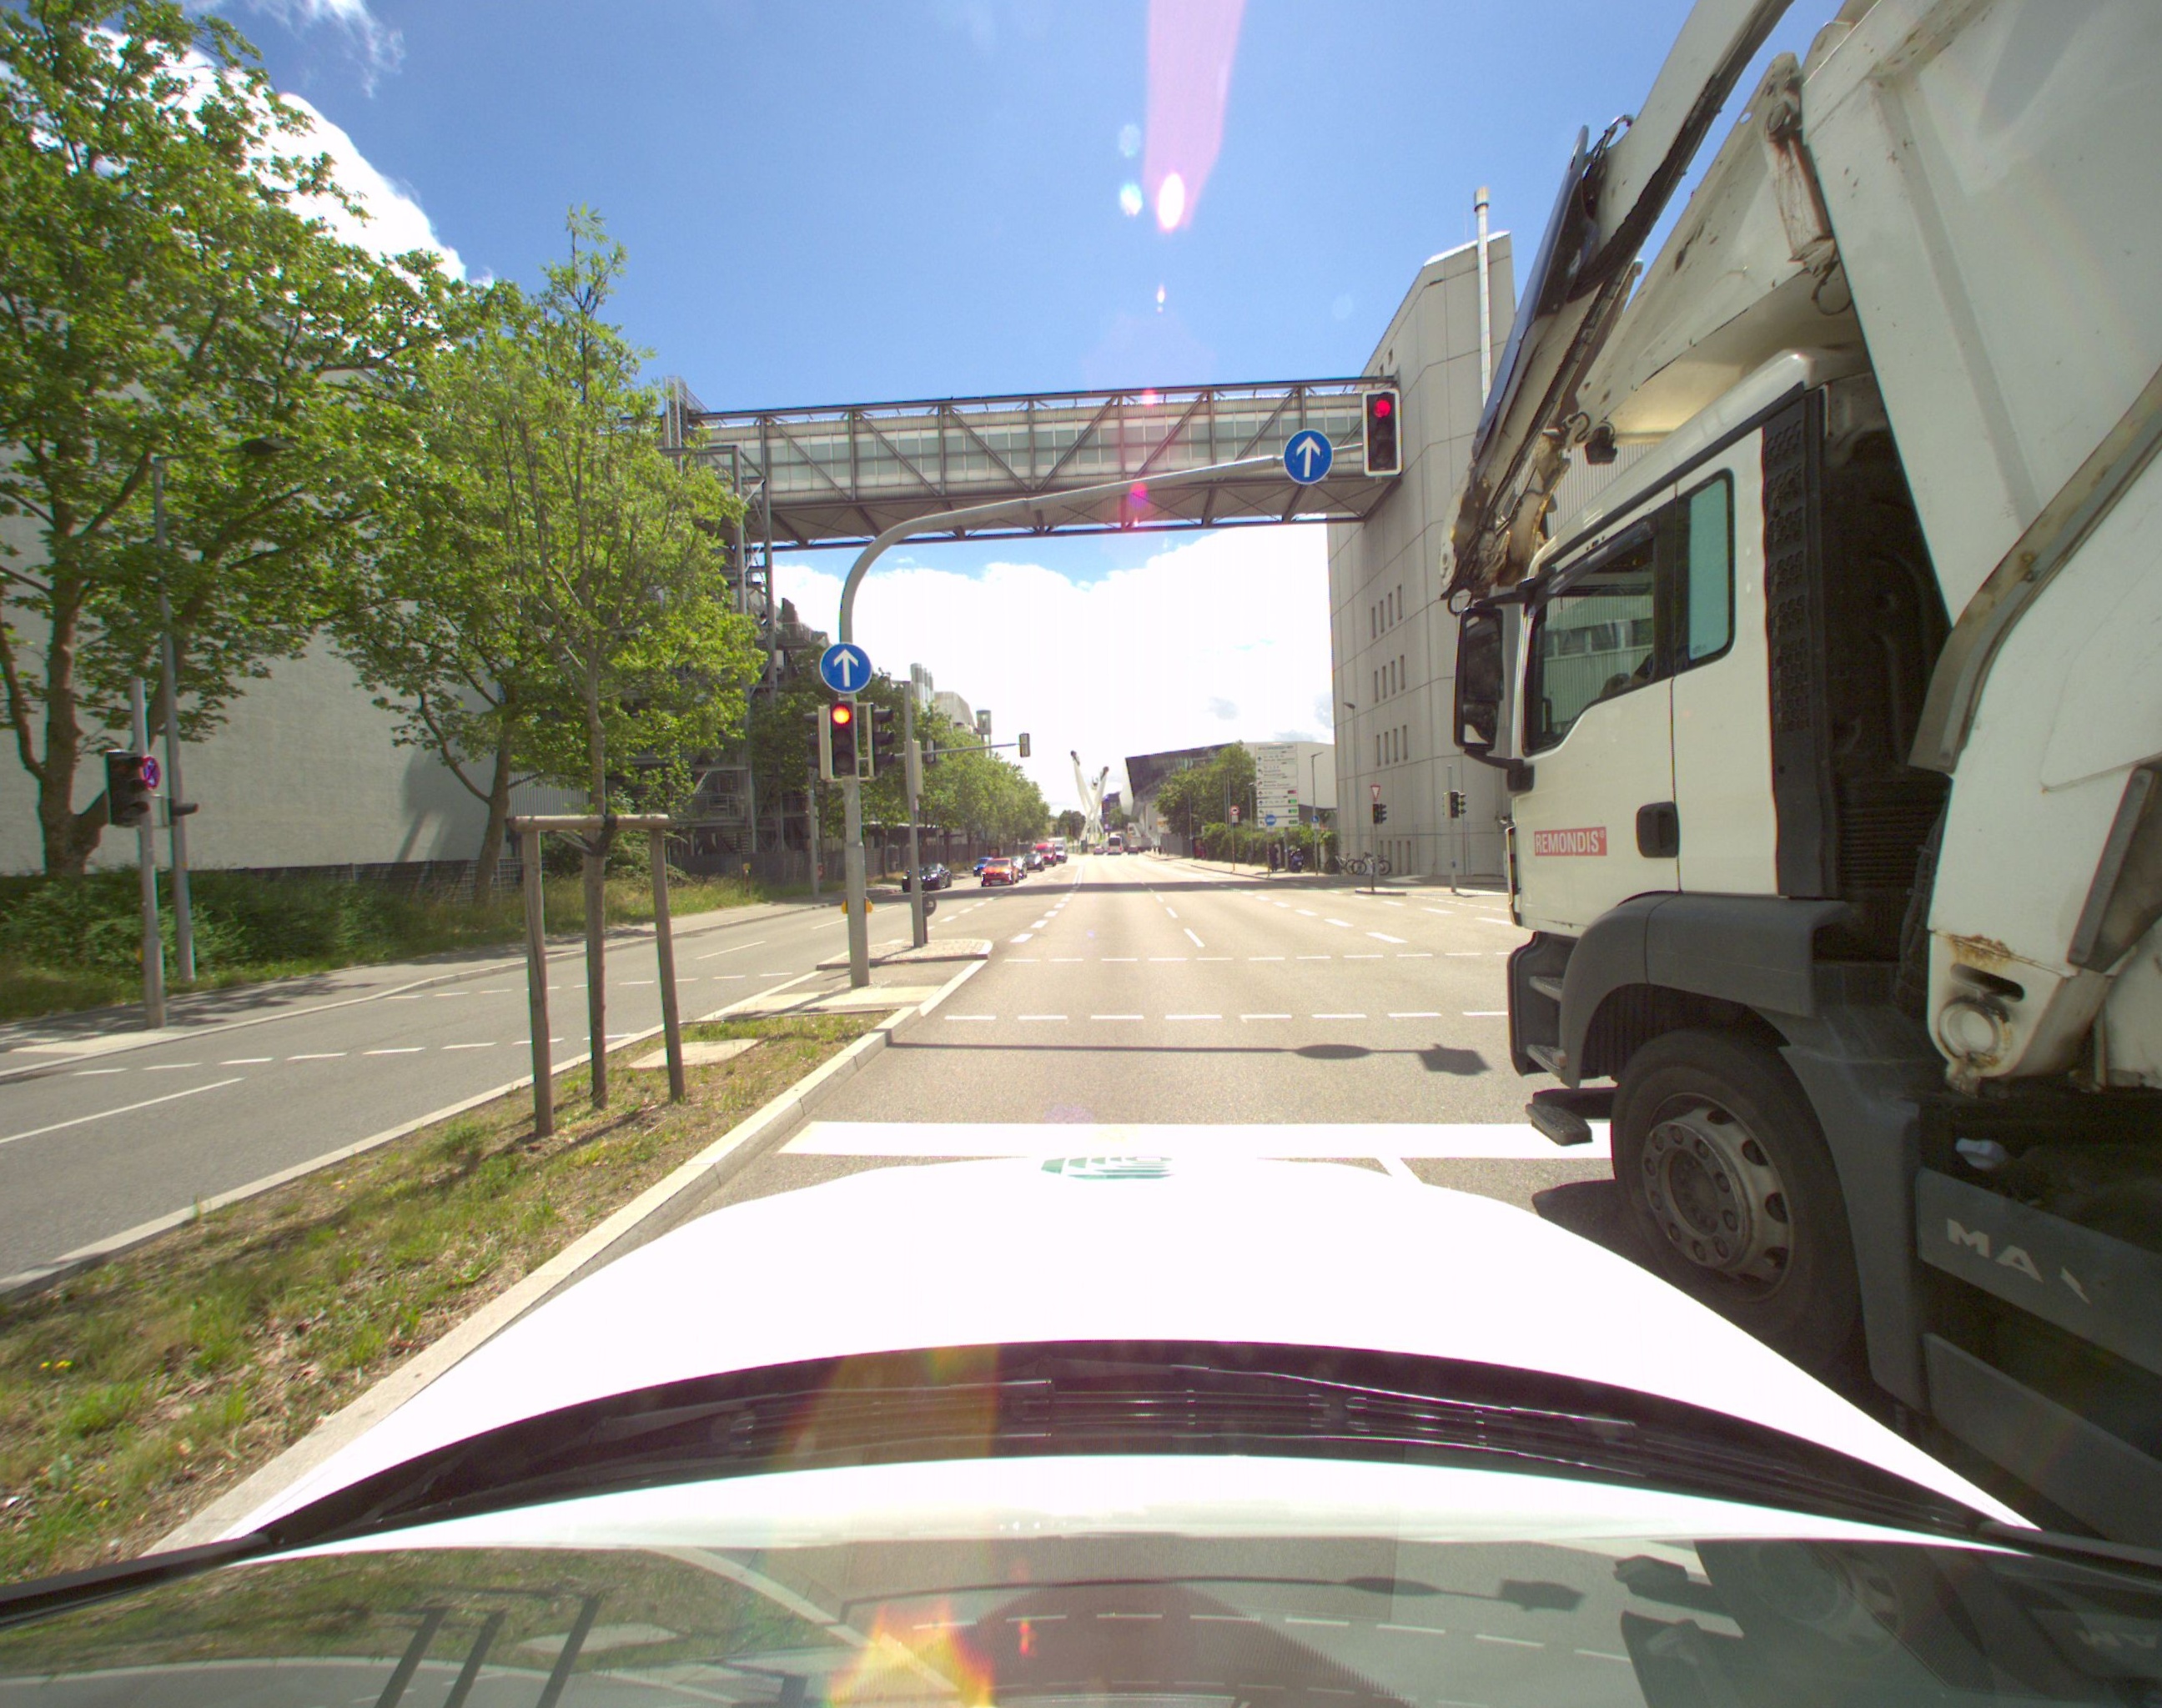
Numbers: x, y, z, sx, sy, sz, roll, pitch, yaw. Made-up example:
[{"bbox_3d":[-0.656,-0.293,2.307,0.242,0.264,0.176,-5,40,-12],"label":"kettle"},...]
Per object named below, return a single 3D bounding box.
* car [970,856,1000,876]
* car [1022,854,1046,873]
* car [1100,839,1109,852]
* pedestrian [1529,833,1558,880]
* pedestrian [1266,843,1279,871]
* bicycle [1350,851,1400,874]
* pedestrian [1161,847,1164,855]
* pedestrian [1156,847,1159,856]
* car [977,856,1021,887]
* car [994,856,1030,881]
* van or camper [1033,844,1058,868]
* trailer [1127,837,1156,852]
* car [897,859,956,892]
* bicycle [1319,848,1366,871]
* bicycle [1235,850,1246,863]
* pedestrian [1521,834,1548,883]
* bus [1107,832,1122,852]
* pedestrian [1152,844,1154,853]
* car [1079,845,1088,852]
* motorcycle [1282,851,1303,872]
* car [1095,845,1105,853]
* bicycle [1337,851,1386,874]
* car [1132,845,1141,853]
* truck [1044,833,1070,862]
[{"bbox_3d":[-7.726,0.951,65.925,1.720,1.382,3.704,-4,0,3],"label":"car"},{"bbox_3d":[-3.980,0.784,69.420,1.551,1.448,3.775,-4,0,3],"label":"car"},{"bbox_3d":[4.932,-1.784,171.279,1.836,2.624,4.003,0,-1,3],"label":"car"},{"bbox_3d":[18.189,0.094,32.053,0.705,1.793,0.696,-4,0,12],"label":"pedestrian"},{"bbox_3d":[11.130,0.179,47.299,0.532,1.640,0.657,0,-1,-4],"label":"pedestrian"},{"bbox_3d":[13.875,0.399,38.465,2.166,1.086,0.480,-1,-1,37],"label":"bicycle"},{"bbox_3d":[13.103,-0.485,130.586,0.384,1.421,0.424,0,-1,2],"label":"pedestrian"},{"bbox_3d":[12.312,-0.410,130.582,0.384,1.421,0.424,0,-1,2],"label":"pedestrian"},{"bbox_3d":[-4.386,0.911,44.009,1.762,1.420,3.704,-4,0,3],"label":"car"},{"bbox_3d":[-4.421,0.891,52.881,1.762,1.420,3.704,-4,0,3],"label":"car"},{"bbox_3d":[-3.725,0.174,85.769,2.038,2.466,5.598,-1,0,3],"label":"van or camper"},{"bbox_3d":[12.845,-1.970,172.158,3.291,2.995,10.429,-1,-1,21],"label":"trailer"},{"bbox_3d":[-8.126,1.104,43.288,1.910,1.488,4.775,-4,0,3],"label":"car"},{"bbox_3d":[13.080,0.286,40.712,2.196,1.086,0.480,-1,-1,37],"label":"bicycle"},{"bbox_3d":[12.720,0.185,65.138,0.417,1.022,1.911,0,-1,-2],"label":"bicycle"},{"bbox_3d":[17.501,0.169,31.447,0.704,1.793,0.646,-4,0,16],"label":"pedestrian"},{"bbox_3d":[6.200,-2.166,150.263,2.776,3.686,6.947,0,-1,3],"label":"bus"},{"bbox_3d":[11.889,-0.949,134.311,0.384,1.421,0.424,0,-1,2],"label":"pedestrian"},{"bbox_3d":[0.543,-1.038,156.046,1.551,1.273,3.704,-4,0,3],"label":"car"},{"bbox_3d":[11.647,0.405,44.903,0.418,1.166,1.951,0,-1,-9],"label":"motorcycle"},{"bbox_3d":[3.443,-0.890,148.831,1.551,1.273,3.704,-4,0,3],"label":"car"},{"bbox_3d":[13.543,0.409,39.388,2.196,1.086,0.480,-1,-1,37],"label":"bicycle"},{"bbox_3d":[9.913,-0.860,146.199,1.551,1.273,3.704,-4,0,3],"label":"car"},{"bbox_3d":[-2.909,-0.726,99.466,2.581,3.324,7.083,0,-1,3],"label":"truck"}]
